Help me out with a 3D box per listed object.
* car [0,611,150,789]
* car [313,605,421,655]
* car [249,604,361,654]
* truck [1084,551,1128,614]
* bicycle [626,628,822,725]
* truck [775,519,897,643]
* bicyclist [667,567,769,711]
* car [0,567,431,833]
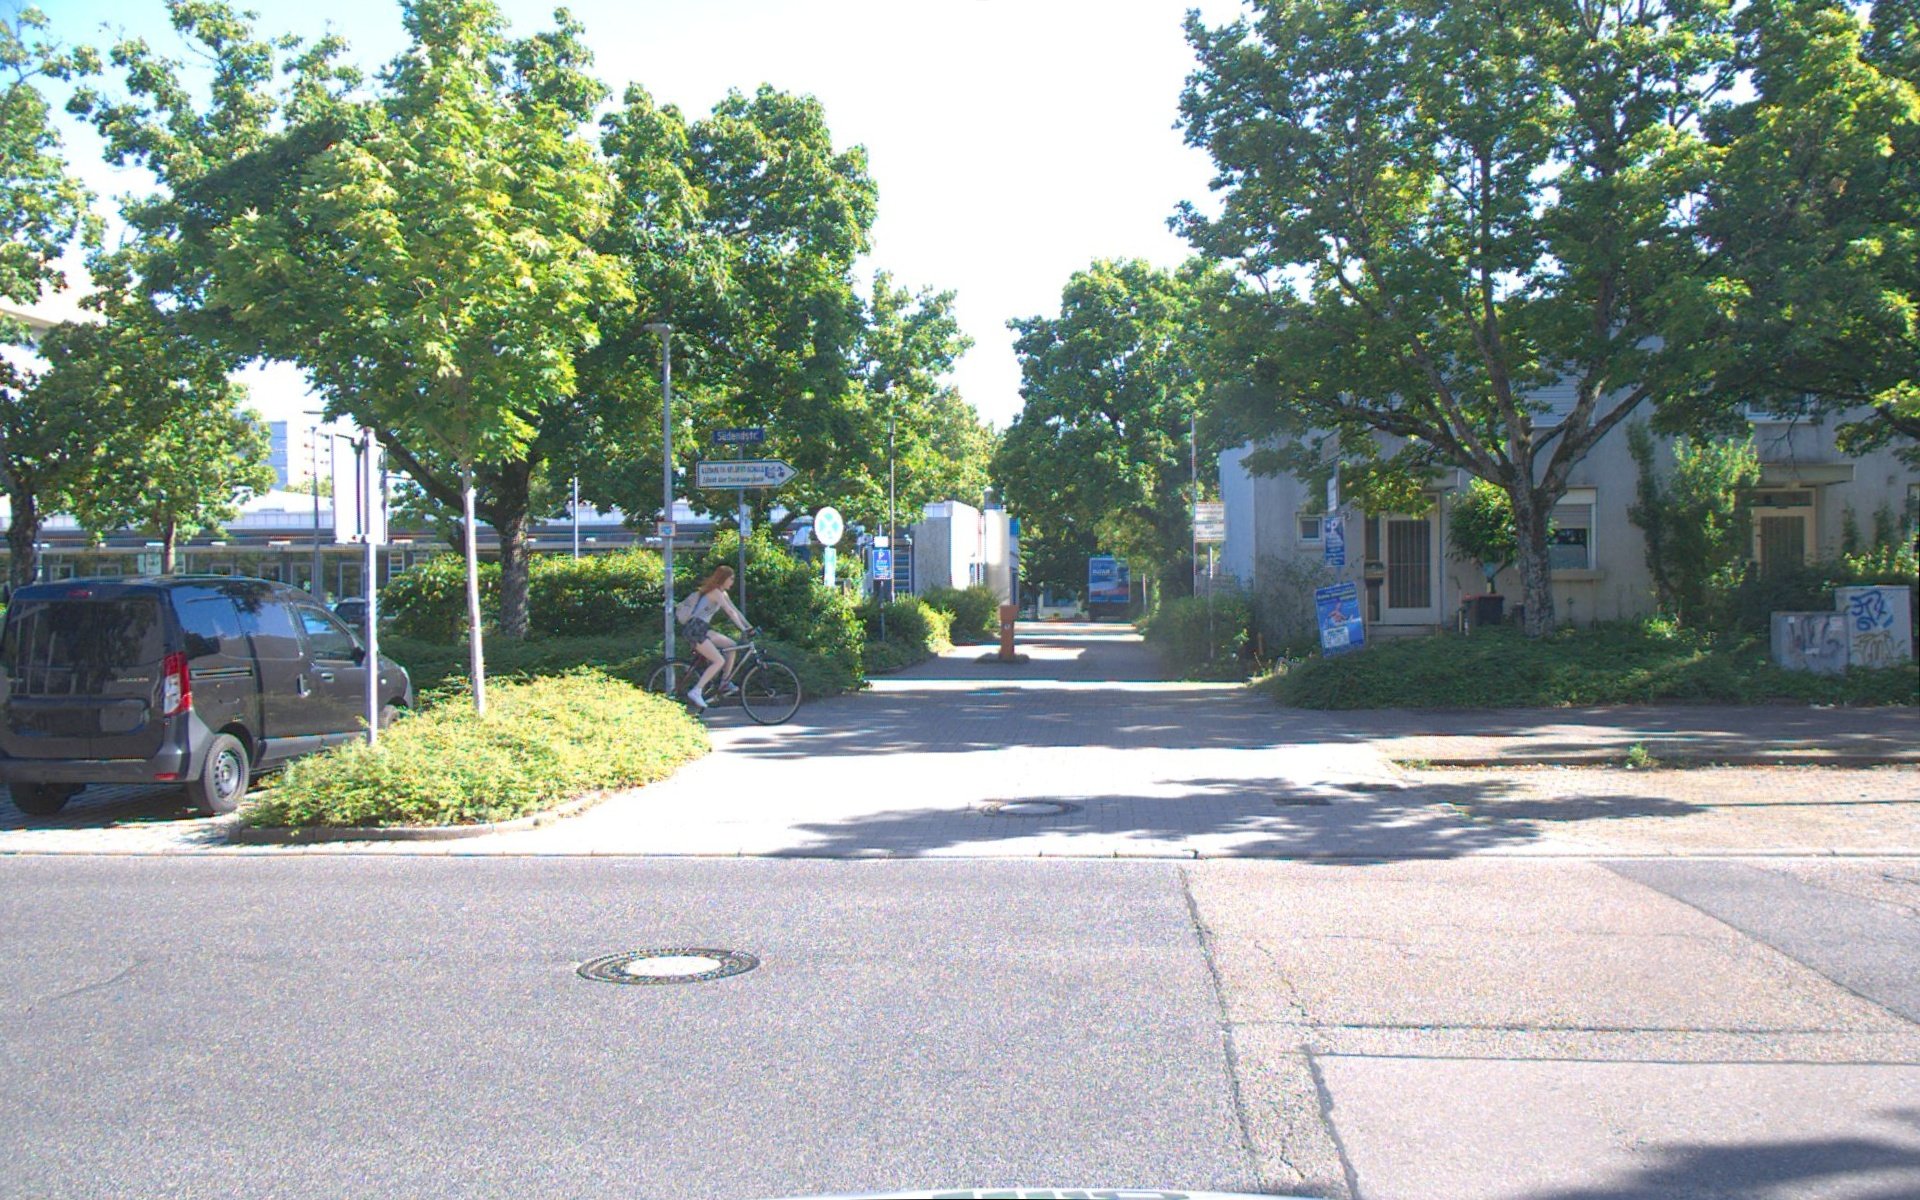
[{"bbox_3d":[-9.014,0.890,14.272,1.785,1.430,4.171,-1,1,3],"label":"car"},{"bbox_3d":[-19.617,0.965,54.867,1.797,1.524,3.911,-1,1,7],"label":"car"},{"bbox_3d":[-21.694,0.948,54.945,1.797,1.524,3.911,-1,1,7],"label":"car"},{"bbox_3d":[9.538,-1.129,107.846,2.701,3.937,9.336,0,0,5],"label":"truck"},{"bbox_3d":[-2.580,0.832,18.161,2.038,1.013,0.596,0,0,4],"label":"bicycle"},{"bbox_3d":[-4.011,-0.625,55.138,2.743,3.873,6.929,0,0,7],"label":"truck"},{"bbox_3d":[-2.651,0.415,18.155,0.990,1.550,0.596,0,0,5],"label":"bicyclist"},{"bbox_3d":[-6.251,0.690,14.042,1.834,1.879,4.171,-1,1,5],"label":"car"}]
